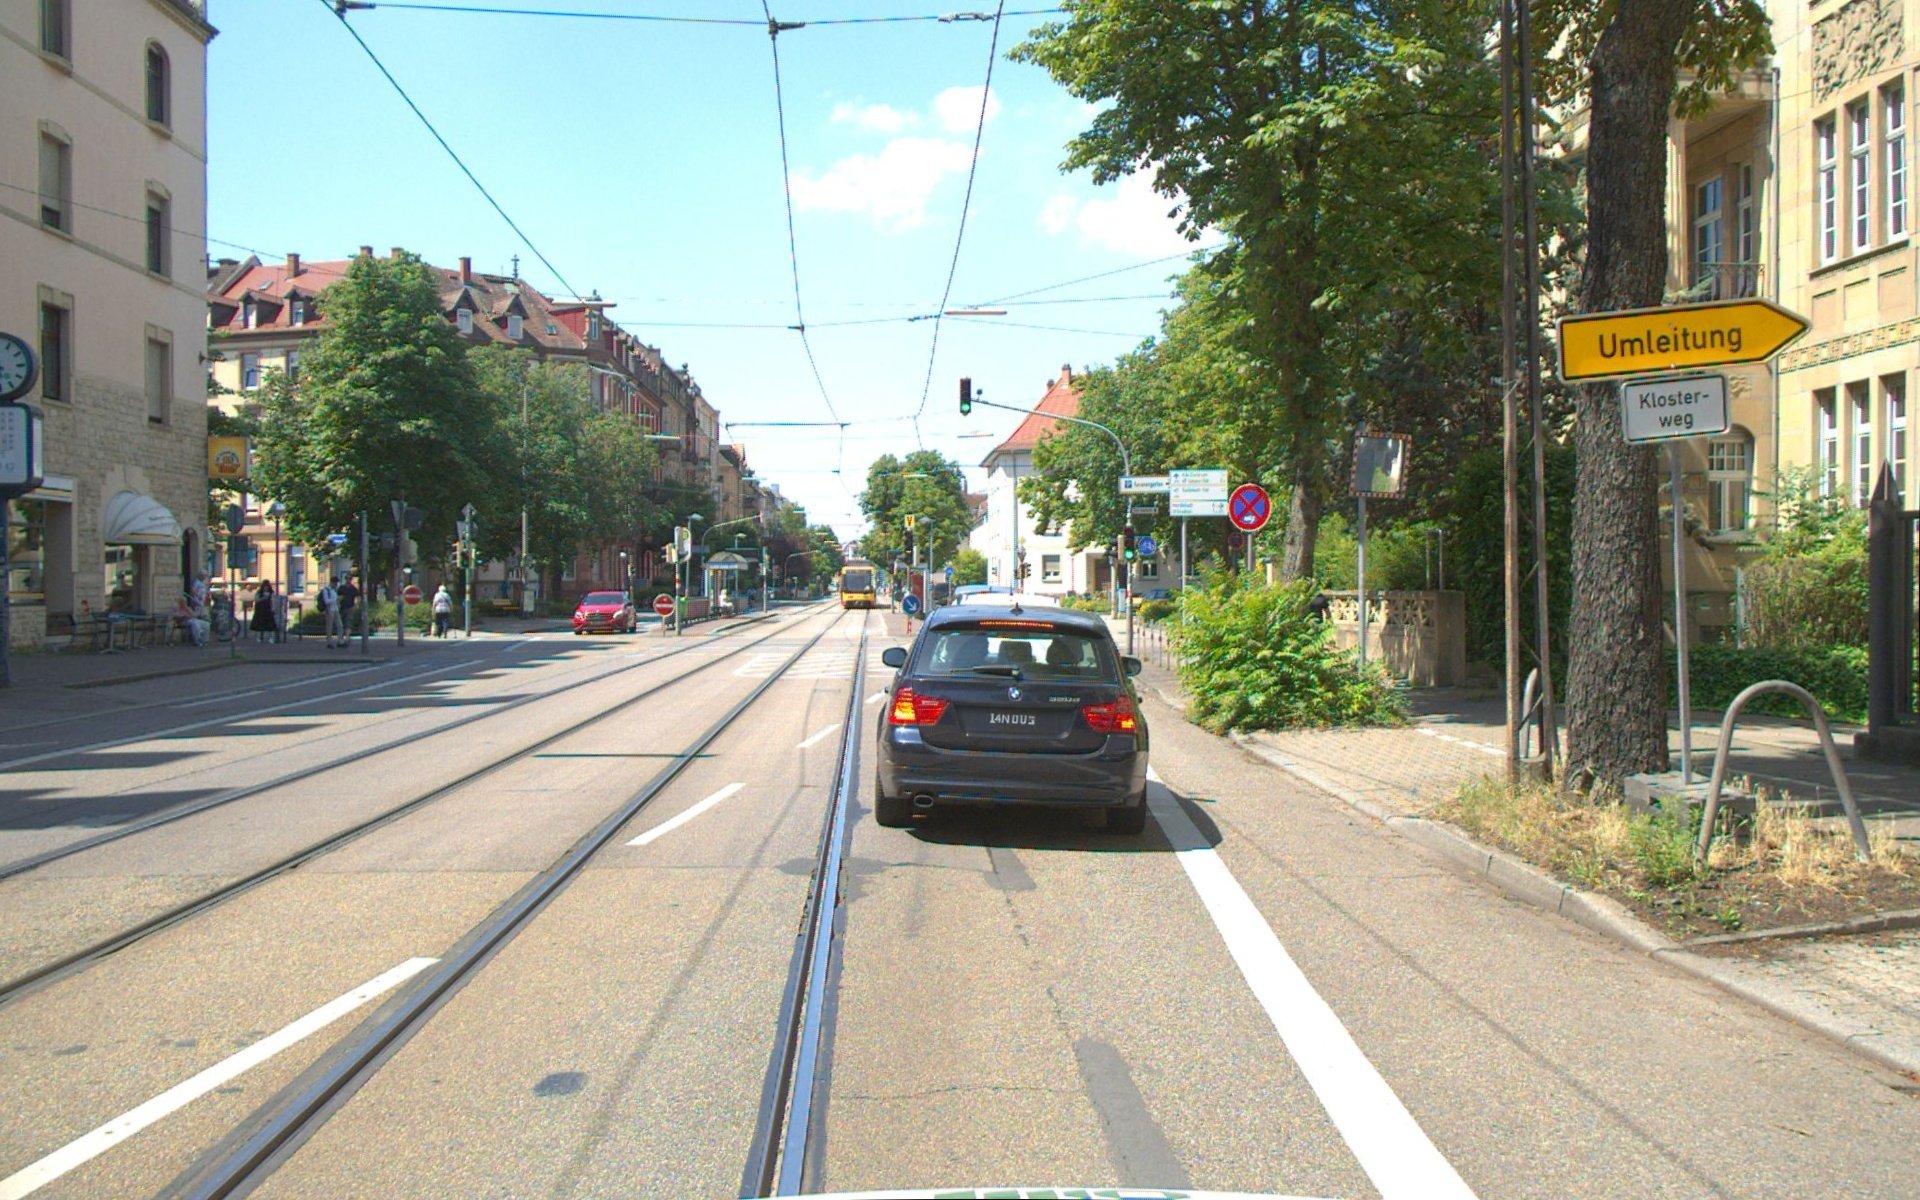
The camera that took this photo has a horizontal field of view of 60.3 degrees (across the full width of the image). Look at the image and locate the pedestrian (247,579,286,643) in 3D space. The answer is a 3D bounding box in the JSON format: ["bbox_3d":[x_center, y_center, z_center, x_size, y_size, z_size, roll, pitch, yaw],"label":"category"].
[{"bbox_3d":[-18.382,0.274,43.812,0.851,1.664,1.016,0,0,-29],"label":"pedestrian"}]

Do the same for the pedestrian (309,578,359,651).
[{"bbox_3d":[-15.475,0.350,40.891,0.842,1.763,0.775,1,0,22],"label":"pedestrian"}]

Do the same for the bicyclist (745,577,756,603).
[{"bbox_3d":[-15.379,-0.719,121.410,0.708,1.903,0.824,0,0,-6],"label":"bicyclist"}]

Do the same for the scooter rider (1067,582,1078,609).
[{"bbox_3d":[7.132,-0.272,104.578,0.579,1.716,0.527,0,0,-8],"label":"scooter rider"}]

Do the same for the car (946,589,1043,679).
[{"bbox_3d":[0.616,0.578,30.745,1.656,1.540,3.821,1,0,0],"label":"car"}]

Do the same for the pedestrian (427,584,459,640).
[{"bbox_3d":[-16.502,0.381,52.782,0.904,1.753,0.834,0,0,-25],"label":"pedestrian"}]

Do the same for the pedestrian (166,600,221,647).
[{"bbox_3d":[-18.315,0.552,39.532,0.897,1.096,0.882,0,0,-2],"label":"pedestrian"}]

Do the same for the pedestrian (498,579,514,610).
[{"bbox_3d":[-27.087,-0.344,98.651,0.733,1.843,0.631,0,0,-40],"label":"pedestrian"}]

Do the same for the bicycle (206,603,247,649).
[{"bbox_3d":[-19.085,0.686,43.008,0.539,1.148,1.658,0,-2,-40],"label":"bicycle"}]

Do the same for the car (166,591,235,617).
[{"bbox_3d":[-43.164,0.219,94.004,3.389,1.497,1.685,0,0,22],"label":"car"}]

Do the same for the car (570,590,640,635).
[{"bbox_3d":[-12.237,0.400,57.295,1.787,1.438,4.424,-2,1,-5],"label":"car"}]

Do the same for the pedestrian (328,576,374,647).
[{"bbox_3d":[-16.569,0.306,45.038,0.883,1.924,1.164,0,0,-4],"label":"pedestrian"}]

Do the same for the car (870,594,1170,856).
[{"bbox_3d":[0.427,0.715,11.847,1.687,1.433,4.566,2,0,2],"label":"car"}]

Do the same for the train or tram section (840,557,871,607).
[{"bbox_3d":[-7.772,-1.349,123.477,2.147,3.543,8.839,0,0,-3],"label":"train or tram section"}]

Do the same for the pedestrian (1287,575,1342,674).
[{"bbox_3d":[6.103,0.416,28.511,0.838,1.674,0.837,0,0,6],"label":"pedestrian"}]

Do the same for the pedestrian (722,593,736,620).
[{"bbox_3d":[-10.528,0.294,75.299,0.602,1.264,0.626,0,0,-9],"label":"pedestrian"}]

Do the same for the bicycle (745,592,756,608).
[{"bbox_3d":[-15.361,-0.002,121.320,0.714,1.121,1.714,0,0,-4],"label":"bicycle"}]

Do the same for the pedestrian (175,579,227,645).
[{"bbox_3d":[-18.927,0.302,41.244,0.897,1.622,0.809,0,0,2],"label":"pedestrian"}]

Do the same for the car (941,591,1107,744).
[{"bbox_3d":[0.624,0.666,18.446,1.651,1.510,3.684,0,0,-1],"label":"car"}]
